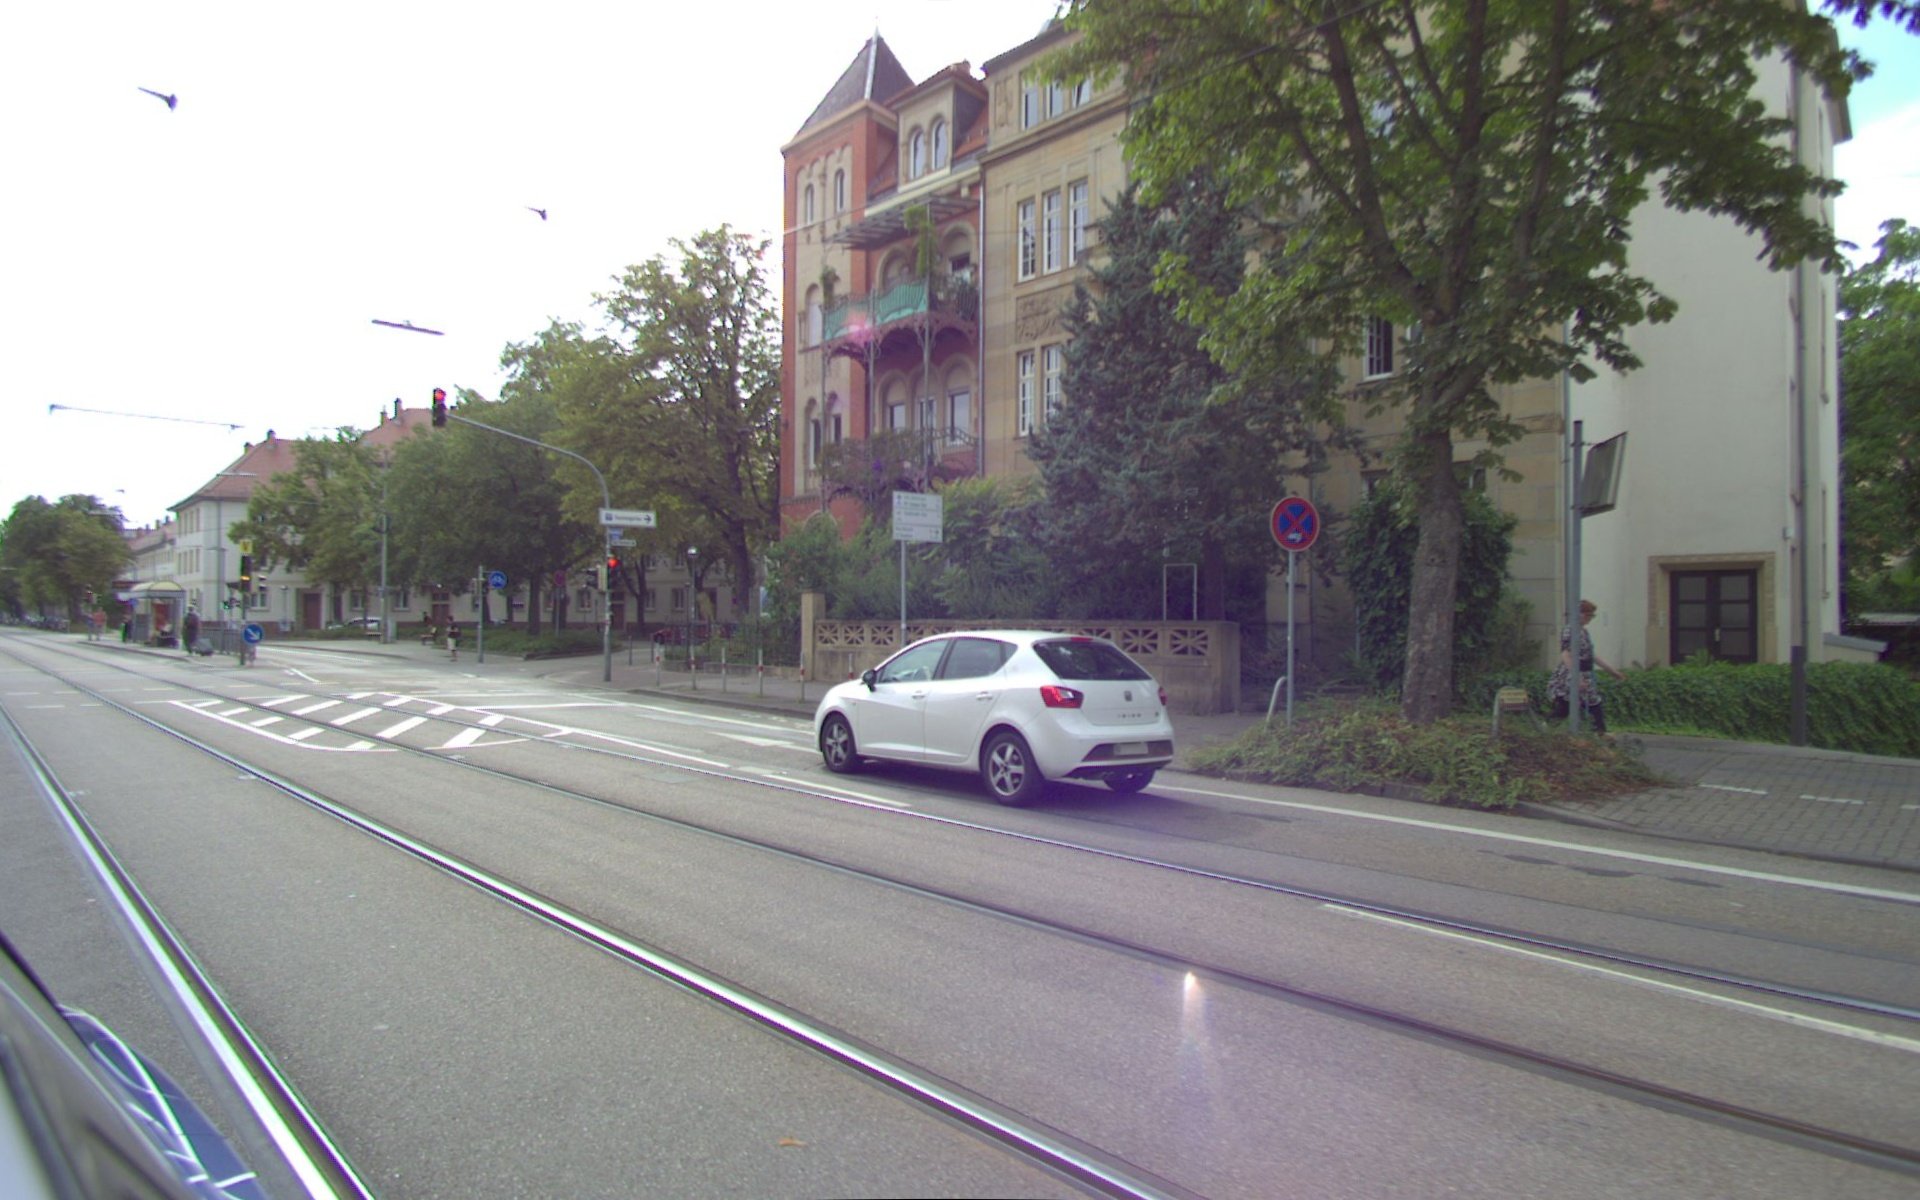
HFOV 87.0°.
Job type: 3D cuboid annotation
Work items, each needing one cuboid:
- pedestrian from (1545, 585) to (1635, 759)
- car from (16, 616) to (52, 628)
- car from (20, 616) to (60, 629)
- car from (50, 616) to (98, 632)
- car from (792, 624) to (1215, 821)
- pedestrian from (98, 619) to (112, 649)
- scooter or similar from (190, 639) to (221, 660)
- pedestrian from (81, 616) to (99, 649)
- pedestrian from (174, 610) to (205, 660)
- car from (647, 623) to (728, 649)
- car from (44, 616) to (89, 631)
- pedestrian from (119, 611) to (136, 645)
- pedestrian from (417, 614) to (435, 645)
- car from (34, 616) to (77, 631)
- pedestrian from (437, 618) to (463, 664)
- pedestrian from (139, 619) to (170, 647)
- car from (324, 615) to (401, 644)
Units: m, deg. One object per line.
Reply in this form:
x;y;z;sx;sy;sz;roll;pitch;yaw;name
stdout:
6.643;0.724;10.675;0.700;1.749;0.698;-1;-1;40;pedestrian
-138.140;3.332;151.053;3.940;1.739;1.878;0;-1;-44;car
-126.165;3.116;138.794;3.940;1.739;1.878;0;-1;-44;car
-97.214;2.608;111.080;3.940;1.739;1.878;0;-1;-44;car
0.208;0.965;9.408;1.552;1.427;4.005;4;-4;-42;car
-48.843;1.925;57.815;0.400;1.716;0.496;-1;-1;31;pedestrian
-25.588;1.677;34.318;0.659;0.718;0.605;1;-2;-15;scooter or similar
-49.286;1.844;57.324;0.463;1.848;0.651;-1;-1;31;pedestrian
-26.302;1.190;34.558;0.815;1.703;0.675;-1;-2;43;pedestrian
-15.413;2.009;57.222;4.283;1.415;1.691;0;-1;23;car
-104.520;2.738;118.372;3.940;1.739;1.878;0;-1;-44;car
-42.912;1.431;52.164;0.618;1.716;0.580;-1;-1;40;pedestrian
-35.509;1.942;67.288;0.850;2.029;0.766;0;-1;-11;pedestrian
-112.209;2.871;125.514;3.940;1.739;1.878;0;-1;-44;car
-19.113;1.539;37.923;0.711;1.703;0.646;-1;-2;40;pedestrian
-37.186;1.500;46.710;0.723;1.246;1.019;-1;-1;42;pedestrian
-40.519;1.979;68.682;4.130;1.879;1.858;0;-1;-11;car
